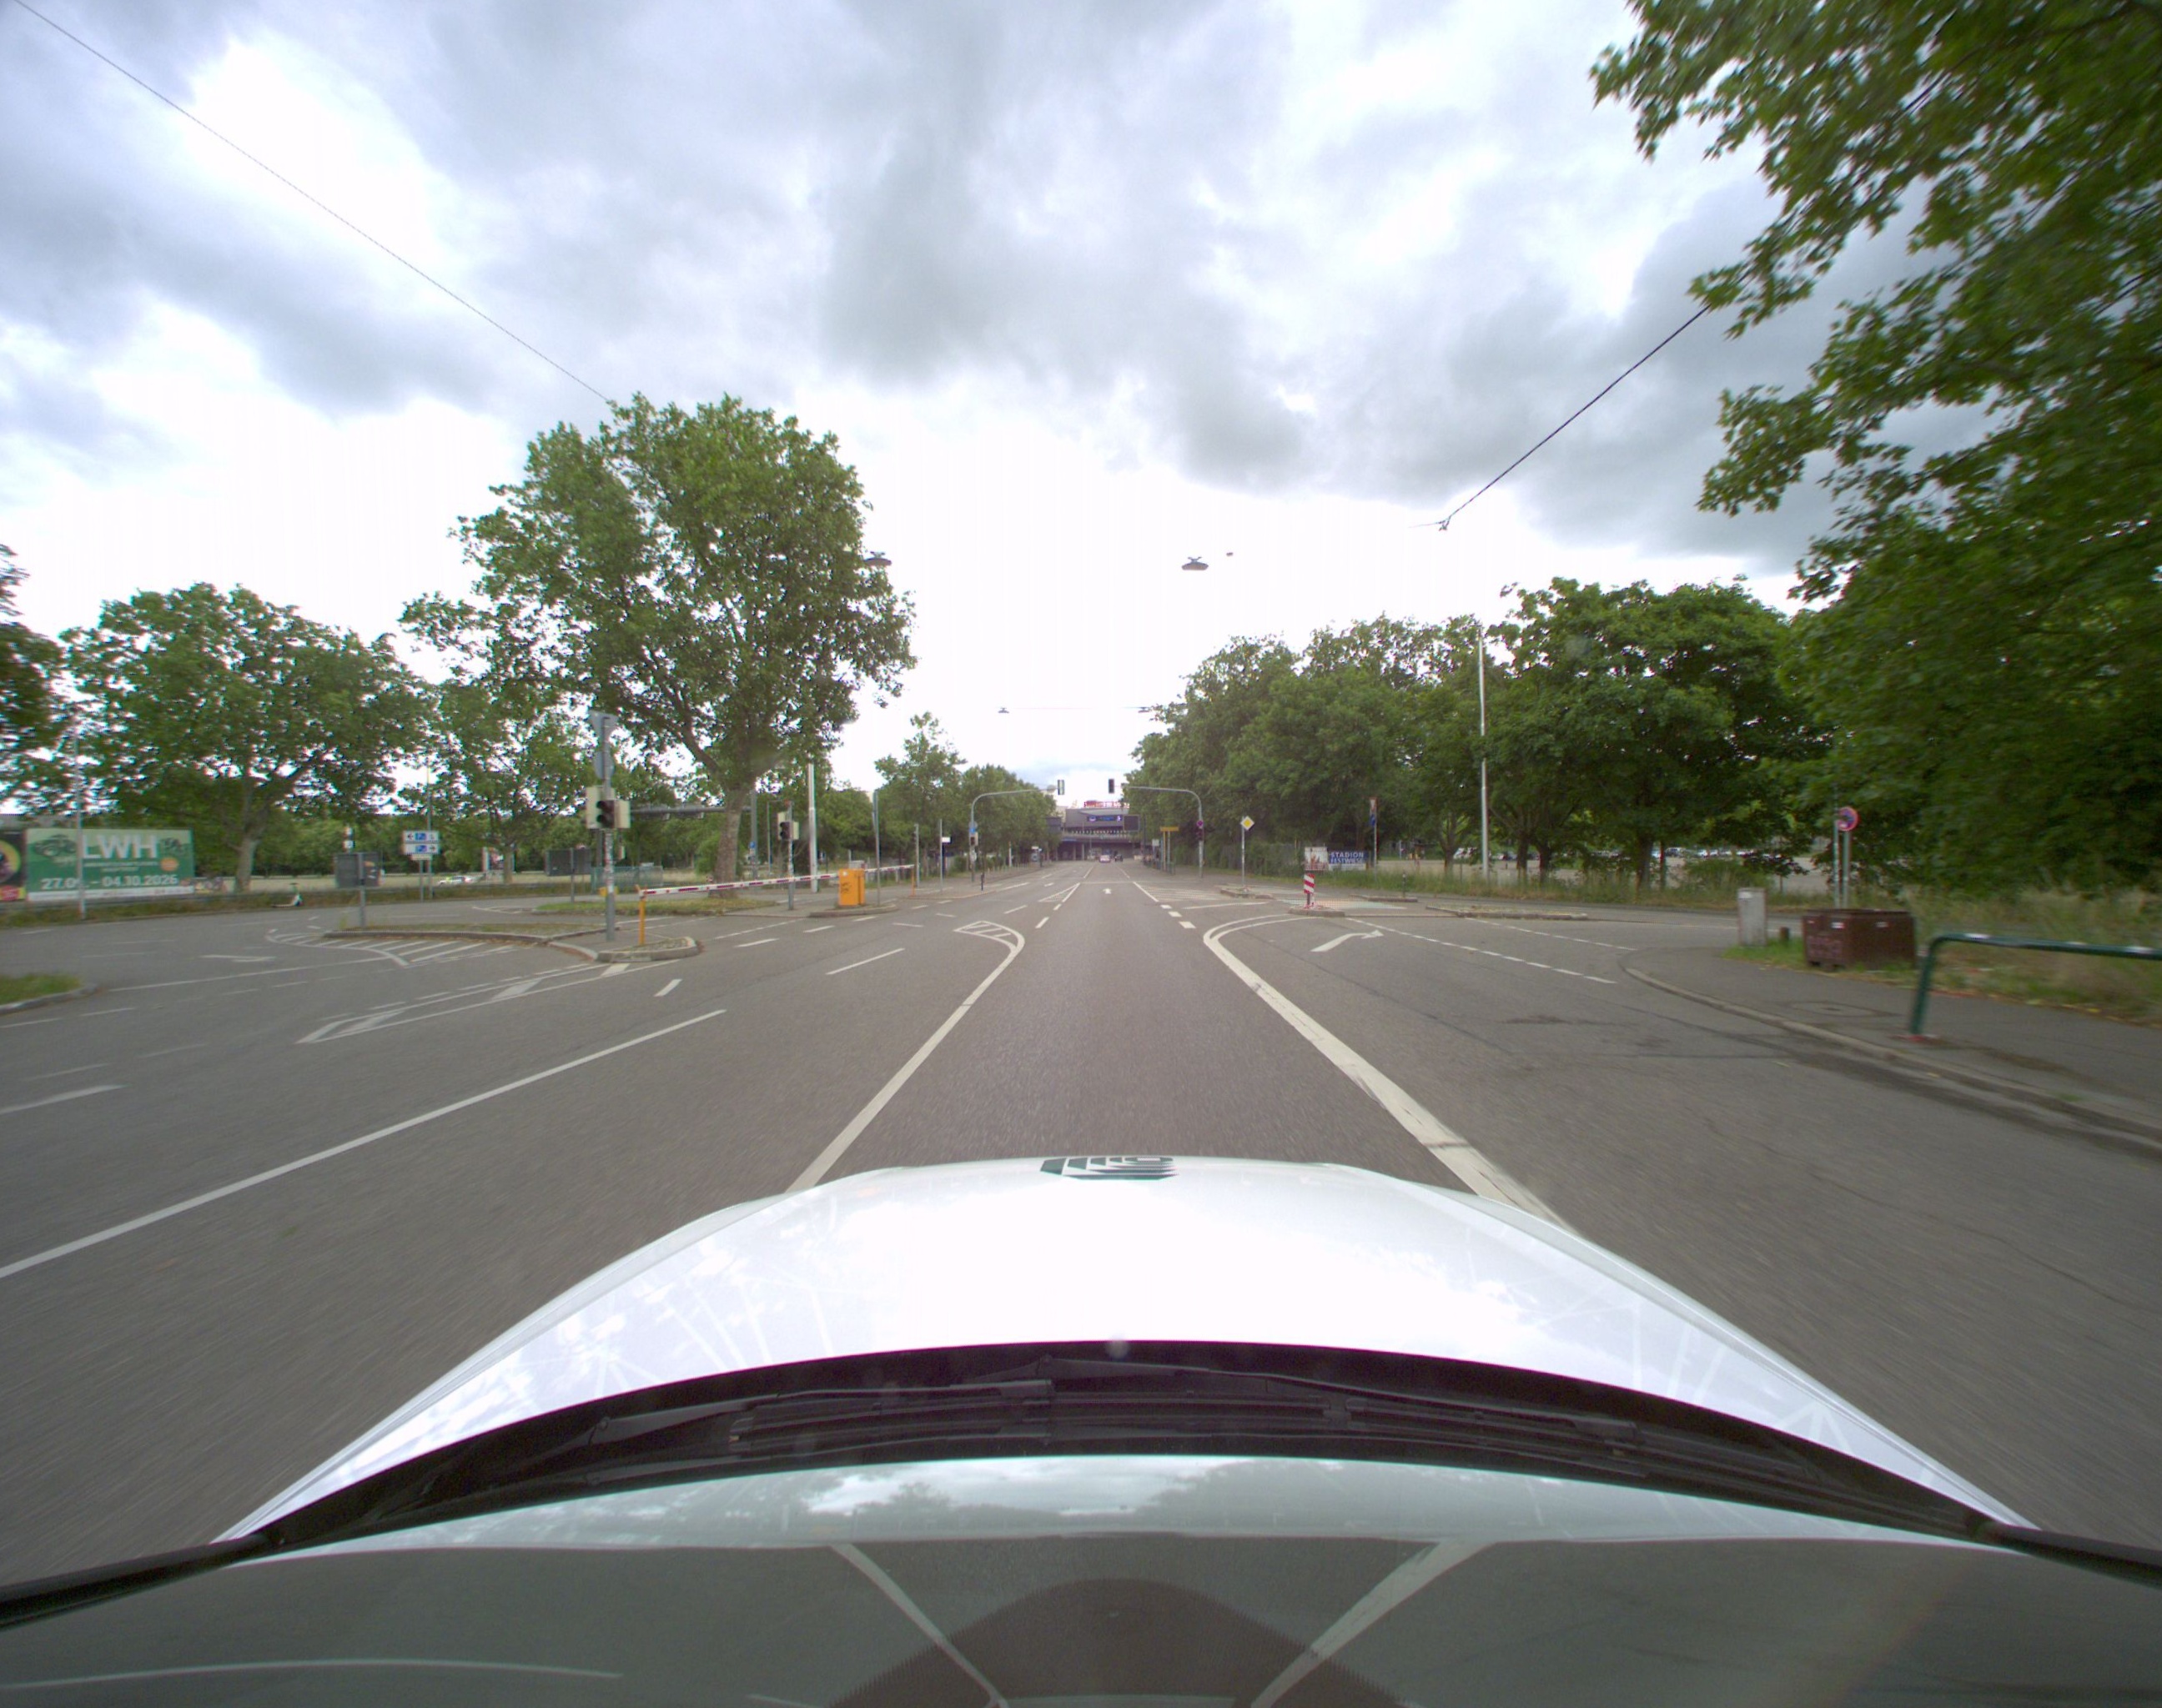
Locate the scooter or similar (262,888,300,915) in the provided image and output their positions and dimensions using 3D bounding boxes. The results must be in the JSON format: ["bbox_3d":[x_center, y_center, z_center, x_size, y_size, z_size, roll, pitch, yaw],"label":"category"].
[{"bbox_3d":[-37.683,2.234,38.377,0.412,1.221,1.224,-1,0,13],"label":"scooter or similar"}]

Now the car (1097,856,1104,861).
[{"bbox_3d":[4.375,1.077,180.732,1.406,1.113,3.039,0,0,2],"label":"car"}]

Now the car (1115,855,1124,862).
[{"bbox_3d":[9.336,1.024,197.814,1.999,1.698,4.072,0,0,3],"label":"car"}]

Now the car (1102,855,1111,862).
[{"bbox_3d":[5.325,0.953,171.658,1.771,1.460,3.824,1,0,3],"label":"car"}]
